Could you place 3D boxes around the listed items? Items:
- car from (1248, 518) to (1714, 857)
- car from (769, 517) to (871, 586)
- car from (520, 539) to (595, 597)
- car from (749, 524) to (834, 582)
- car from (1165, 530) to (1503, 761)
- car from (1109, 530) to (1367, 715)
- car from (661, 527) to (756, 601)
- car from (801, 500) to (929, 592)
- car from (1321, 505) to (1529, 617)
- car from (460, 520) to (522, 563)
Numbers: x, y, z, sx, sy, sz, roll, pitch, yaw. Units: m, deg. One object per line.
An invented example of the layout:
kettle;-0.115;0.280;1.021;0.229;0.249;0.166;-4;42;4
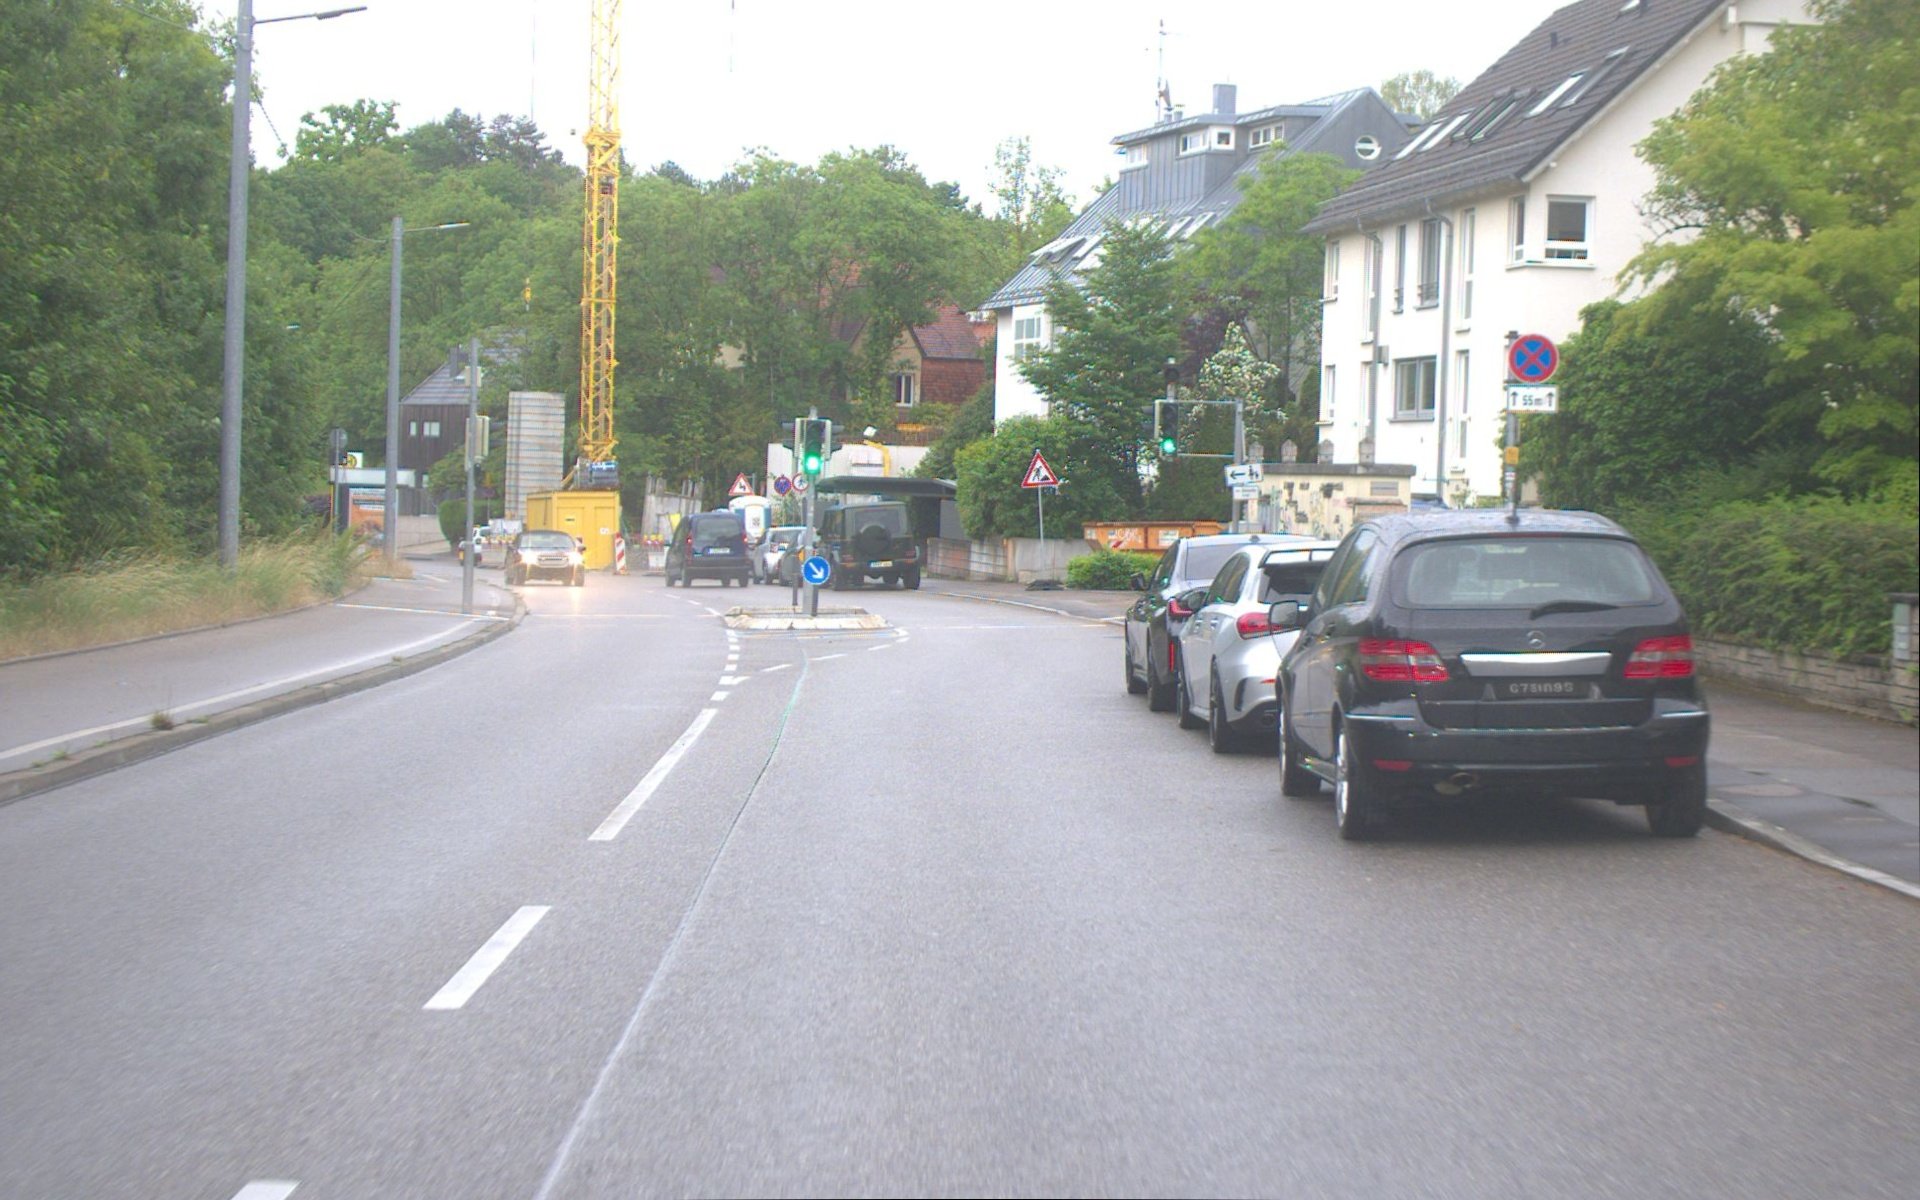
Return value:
car;2.614;0.354;18.264;1.730;1.562;4.522;0;2;-1
car;-3.464;-1.191;84.269;1.931;1.590;4.396;-2;1;-9
car;-10.425;-0.850;89.236;1.743;1.455;4.415;0;1;-4
car;-4.370;-1.214;88.761;1.672;1.452;3.387;-1;1;-12
car;2.559;0.284;24.541;1.793;1.481;4.496;1;0;-1
car;2.282;0.154;29.302;1.751;1.438;4.601;1;1;-1
car;-6.271;-0.904;85.358;1.931;1.745;4.001;0;2;-10
car;-2.231;-1.259;79.339;1.993;2.007;4.958;-2;1;-13
car;7.268;-0.622;54.176;1.931;1.590;4.343;3;0;-10
car;-19.604;-2.457;143.535;1.744;1.700;4.503;-2;2;-18
